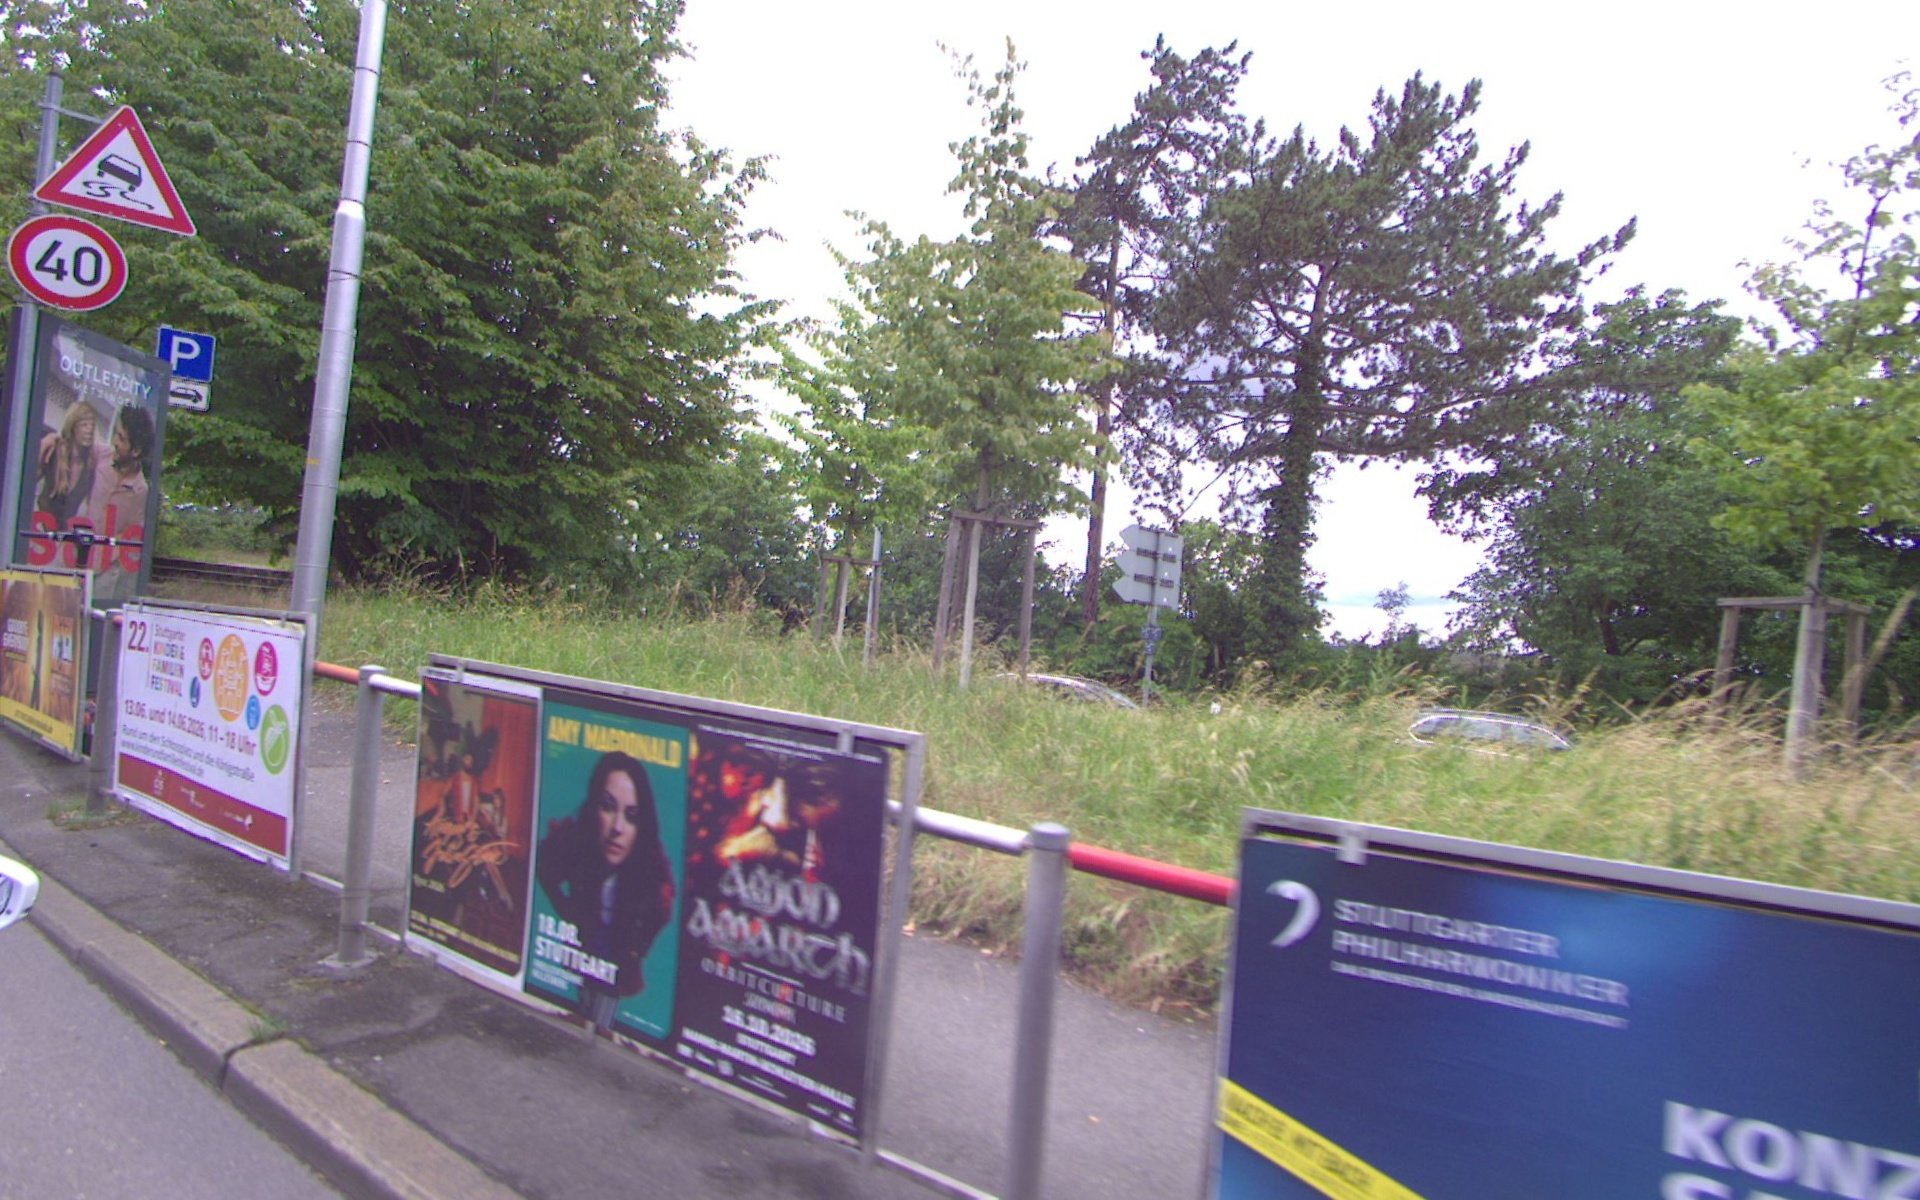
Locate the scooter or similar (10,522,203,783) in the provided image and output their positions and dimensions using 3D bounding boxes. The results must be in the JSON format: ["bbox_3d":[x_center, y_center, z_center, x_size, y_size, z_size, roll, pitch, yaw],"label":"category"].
[{"bbox_3d":[-5.034,0.257,5.902,1.464,1.305,0.516,7,2,38],"label":"scooter or similar"}]

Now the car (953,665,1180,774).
[{"bbox_3d":[2.098,2.276,19.802,3.929,1.540,1.925,5,-2,26],"label":"car"}]

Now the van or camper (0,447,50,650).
[{"bbox_3d":[-10.863,-0.720,10.318,4.183,1.867,1.697,7,-1,42],"label":"van or camper"}]

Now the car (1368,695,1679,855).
[{"bbox_3d":[8.783,2.606,15.788,3.941,1.748,1.920,4,-2,37],"label":"car"}]
